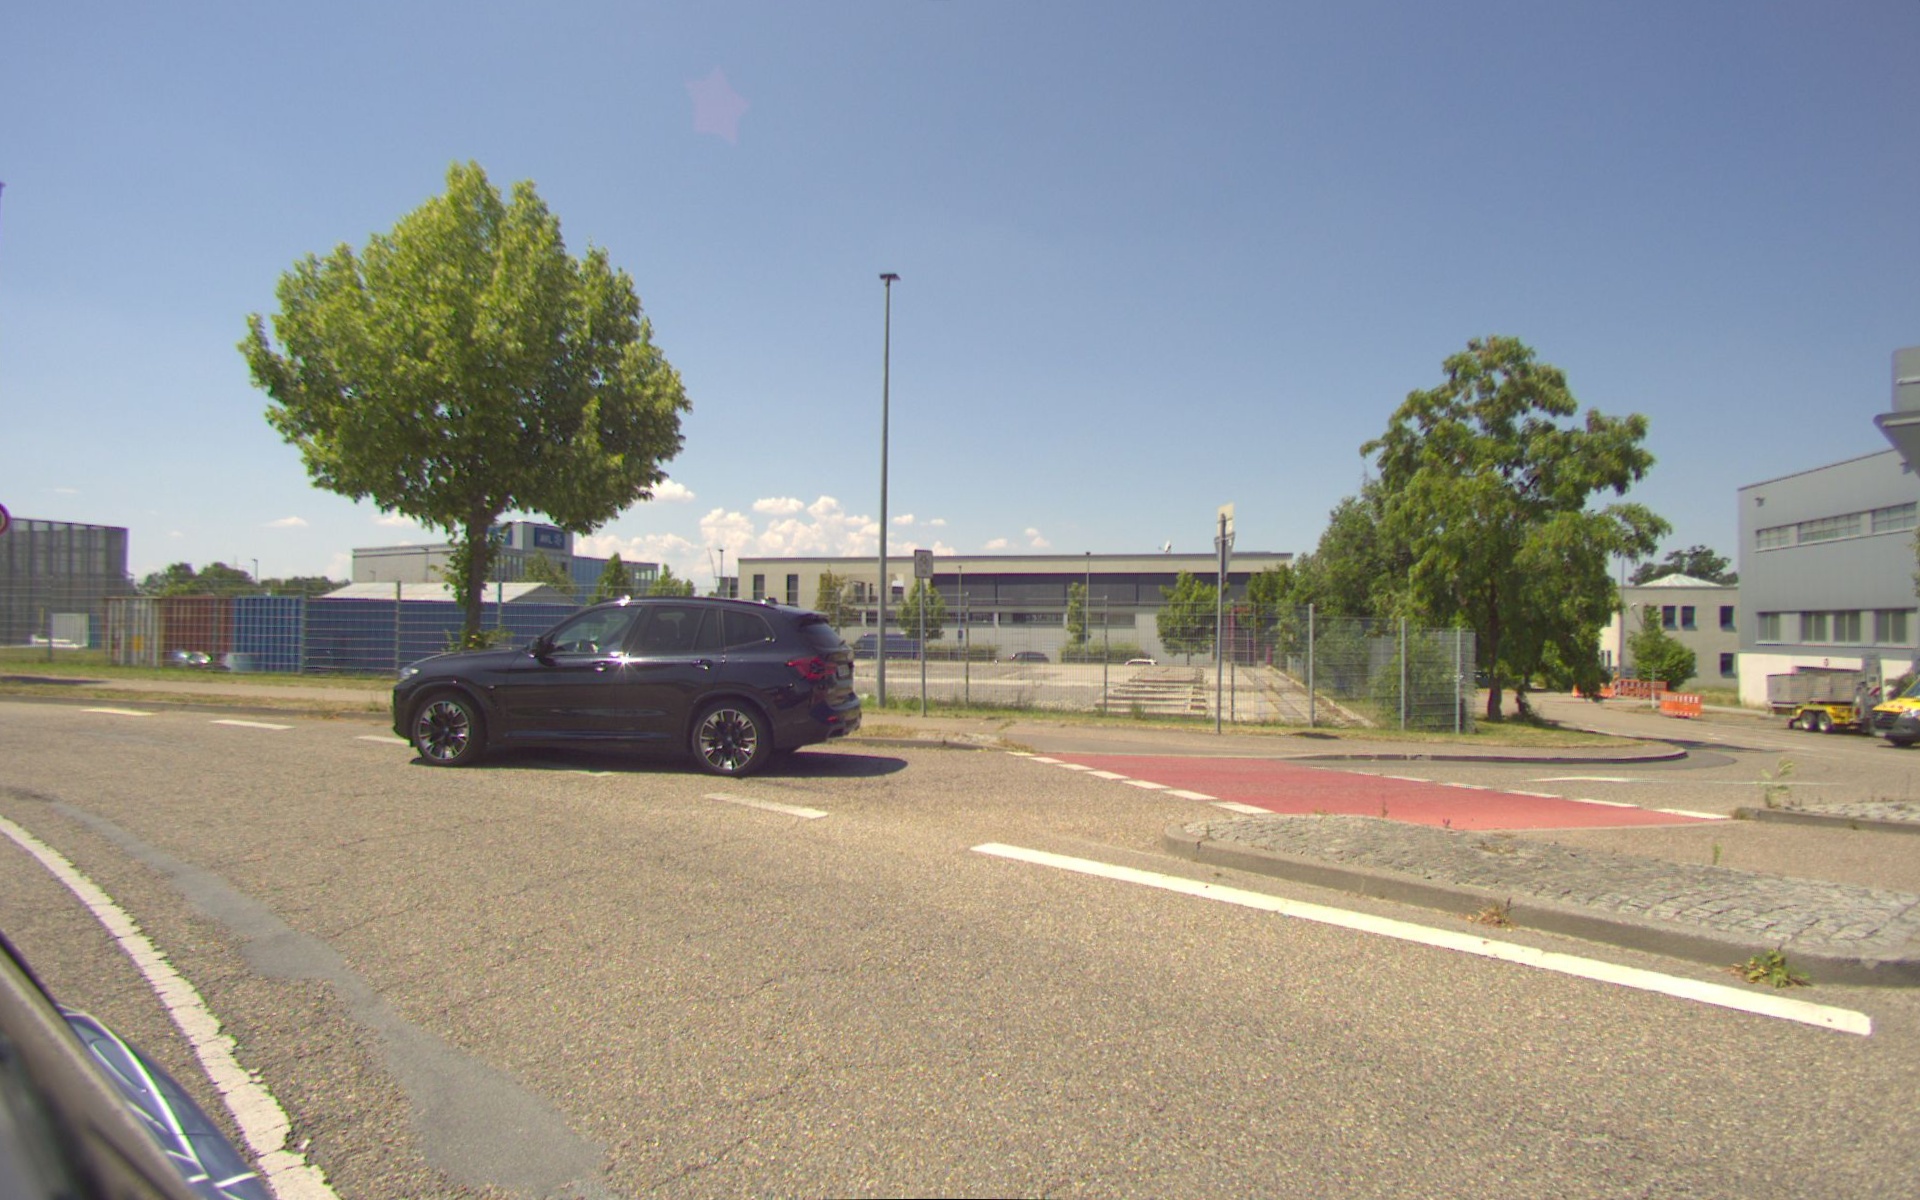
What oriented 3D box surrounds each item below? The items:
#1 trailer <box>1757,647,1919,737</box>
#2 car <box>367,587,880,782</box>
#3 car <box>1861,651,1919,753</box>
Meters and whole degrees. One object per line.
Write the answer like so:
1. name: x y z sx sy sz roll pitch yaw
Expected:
1. trailer: 30.817 3.105 35.019 2.635 2.879 5.502 -1 -4 10
2. car: -3.229 0.789 10.258 4.543 1.647 1.866 1 -2 6
3. car: 28.904 2.797 27.868 5.739 2.754 1.992 -1 -3 13
